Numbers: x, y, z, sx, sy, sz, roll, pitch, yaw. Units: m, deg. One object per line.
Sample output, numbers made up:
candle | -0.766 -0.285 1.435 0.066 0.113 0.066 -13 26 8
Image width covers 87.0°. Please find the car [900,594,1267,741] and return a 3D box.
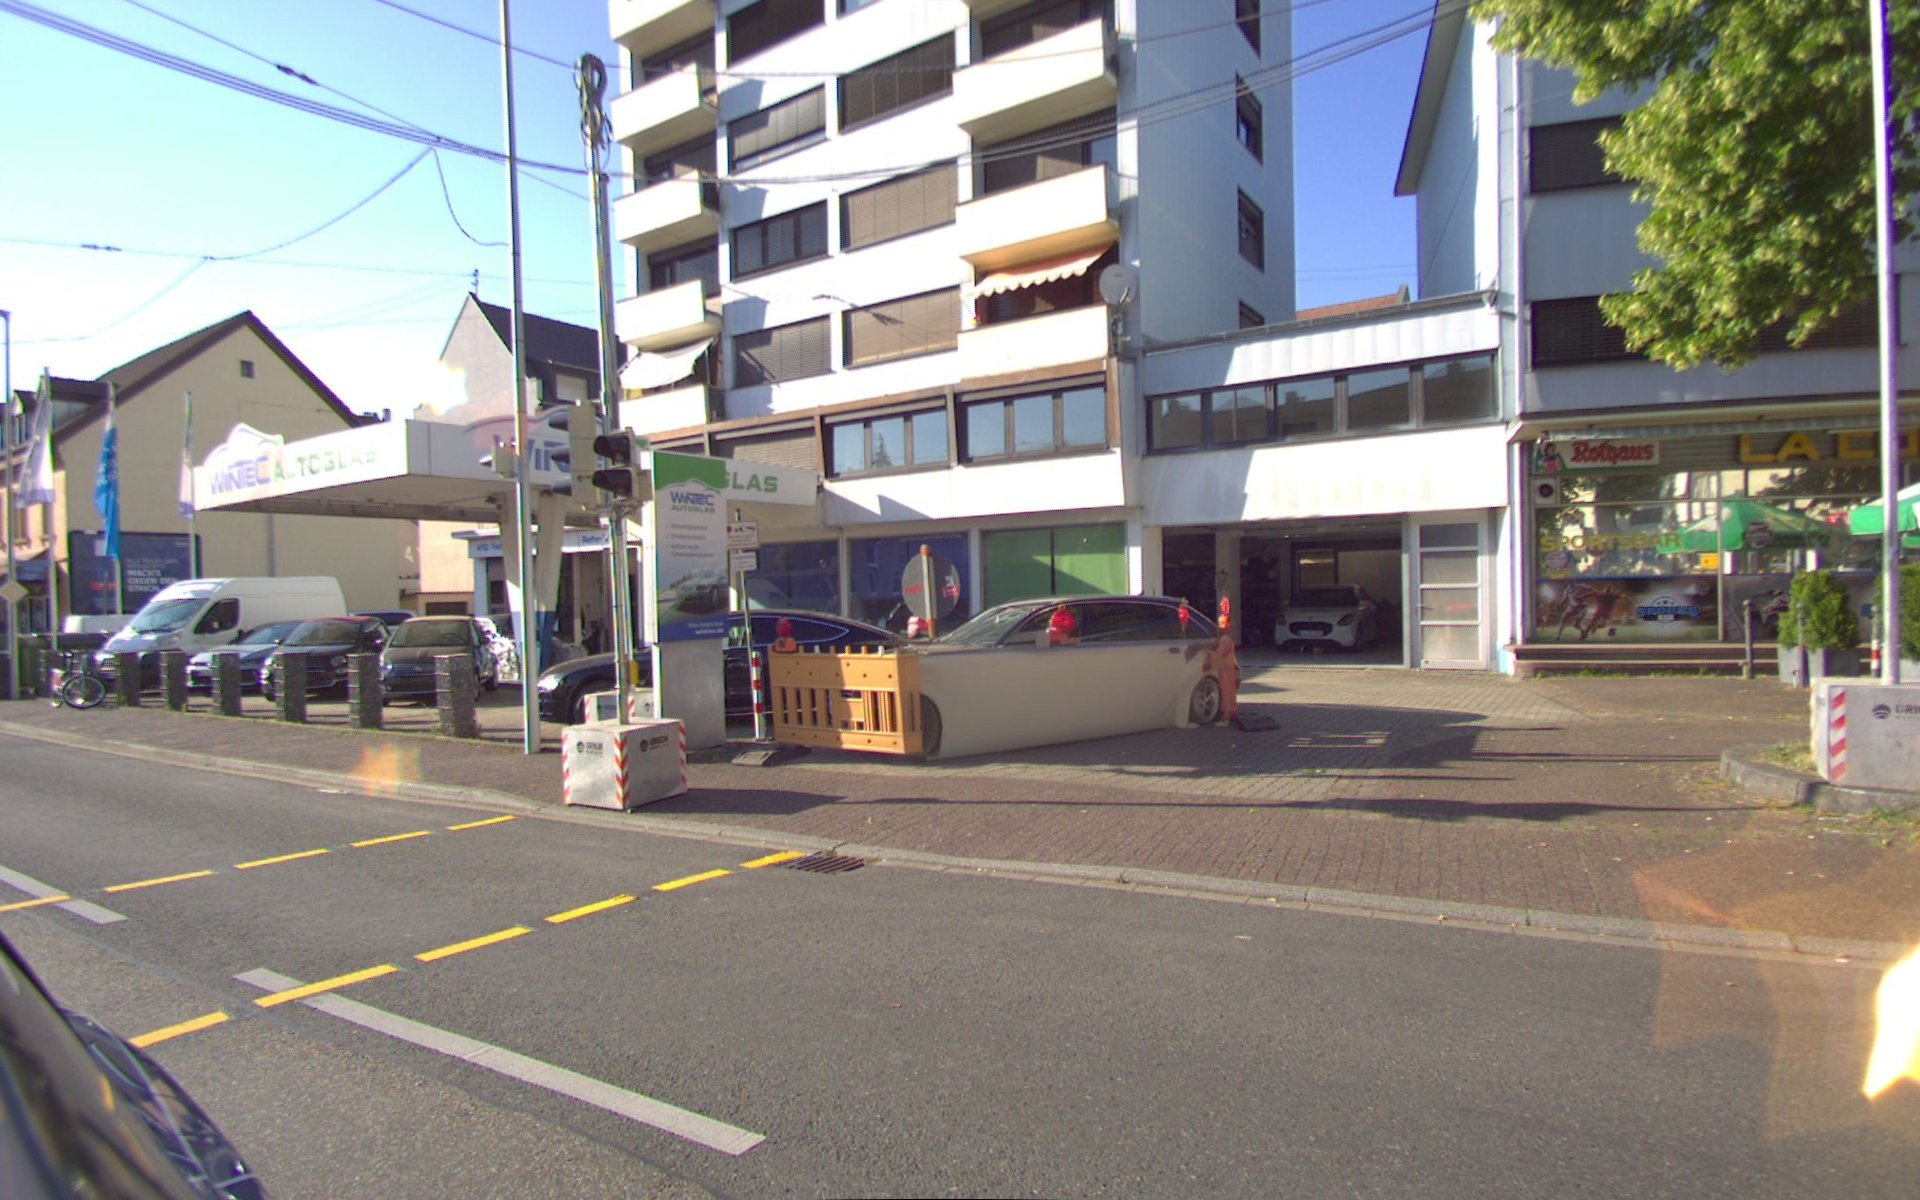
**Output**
car | 1.394 0.692 11.554 3.817 1.449 1.601 -1 -2 -21

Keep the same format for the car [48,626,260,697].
car | -19.459 1.429 24.682 1.722 1.488 4.023 -1 0 7

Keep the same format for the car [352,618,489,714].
car | -9.653 1.112 18.335 1.516 1.498 3.383 -1 0 -16

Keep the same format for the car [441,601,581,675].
car | -12.991 1.078 29.216 4.248 1.958 1.723 -2 -1 35

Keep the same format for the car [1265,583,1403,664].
car | 8.394 0.482 22.545 1.572 1.620 3.703 -2 0 42

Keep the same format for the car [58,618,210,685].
car | -27.074 1.635 33.274 1.447 2.029 3.634 -2 -1 32

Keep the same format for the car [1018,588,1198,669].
car | 3.299 0.632 22.701 3.620 1.686 1.704 -2 -1 33

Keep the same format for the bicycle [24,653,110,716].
bicycle | -16.780 1.567 19.008 1.786 1.094 0.718 -2 0 32

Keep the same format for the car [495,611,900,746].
car | -3.221 0.916 12.877 4.611 1.449 1.937 -1 -2 -13

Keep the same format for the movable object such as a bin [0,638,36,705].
movable object such as a bin | -21.972 1.633 23.146 1.030 1.475 0.798 -1 -1 -23

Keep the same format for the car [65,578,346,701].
car | -16.942 0.820 23.128 2.094 2.473 4.971 -2 0 13

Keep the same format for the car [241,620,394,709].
car | -12.427 1.178 19.802 1.568 1.508 3.445 -1 0 -15

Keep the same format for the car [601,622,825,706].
car | -4.341 1.079 17.594 3.891 1.308 1.509 -2 -2 32

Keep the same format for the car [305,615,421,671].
car | -23.123 1.644 39.292 1.447 2.029 3.634 -2 -1 32

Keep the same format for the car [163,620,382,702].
car | -14.669 1.246 21.904 1.722 1.508 4.023 -1 0 7

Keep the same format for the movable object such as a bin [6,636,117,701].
movable object such as a bin | -21.991 1.656 24.809 1.037 1.475 1.790 -1 -1 10
